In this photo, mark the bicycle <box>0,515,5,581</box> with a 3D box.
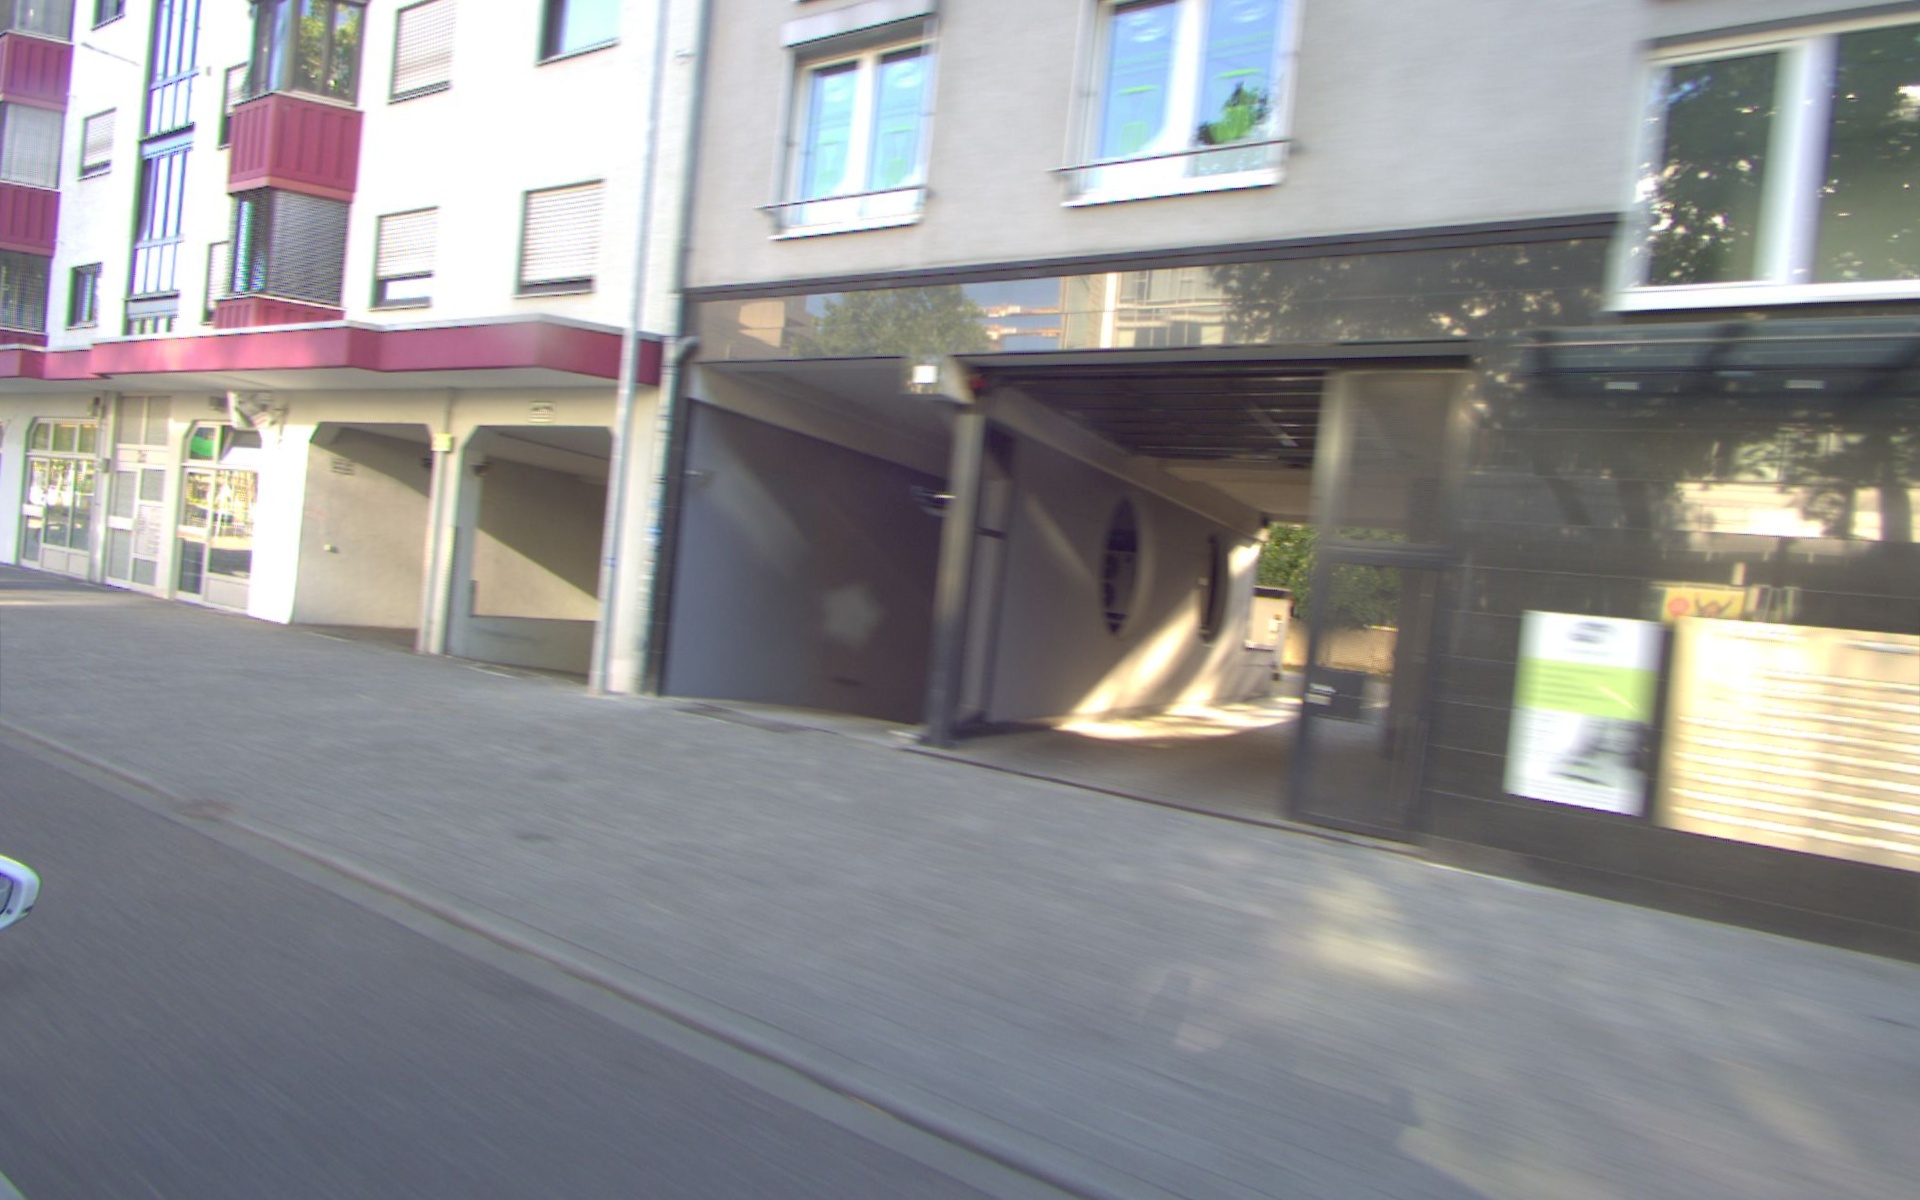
[{"bbox_3d":[-15.933,-0.841,14.836,2.552,1.198,0.962,6,1,-7],"label":"bicycle"}]
